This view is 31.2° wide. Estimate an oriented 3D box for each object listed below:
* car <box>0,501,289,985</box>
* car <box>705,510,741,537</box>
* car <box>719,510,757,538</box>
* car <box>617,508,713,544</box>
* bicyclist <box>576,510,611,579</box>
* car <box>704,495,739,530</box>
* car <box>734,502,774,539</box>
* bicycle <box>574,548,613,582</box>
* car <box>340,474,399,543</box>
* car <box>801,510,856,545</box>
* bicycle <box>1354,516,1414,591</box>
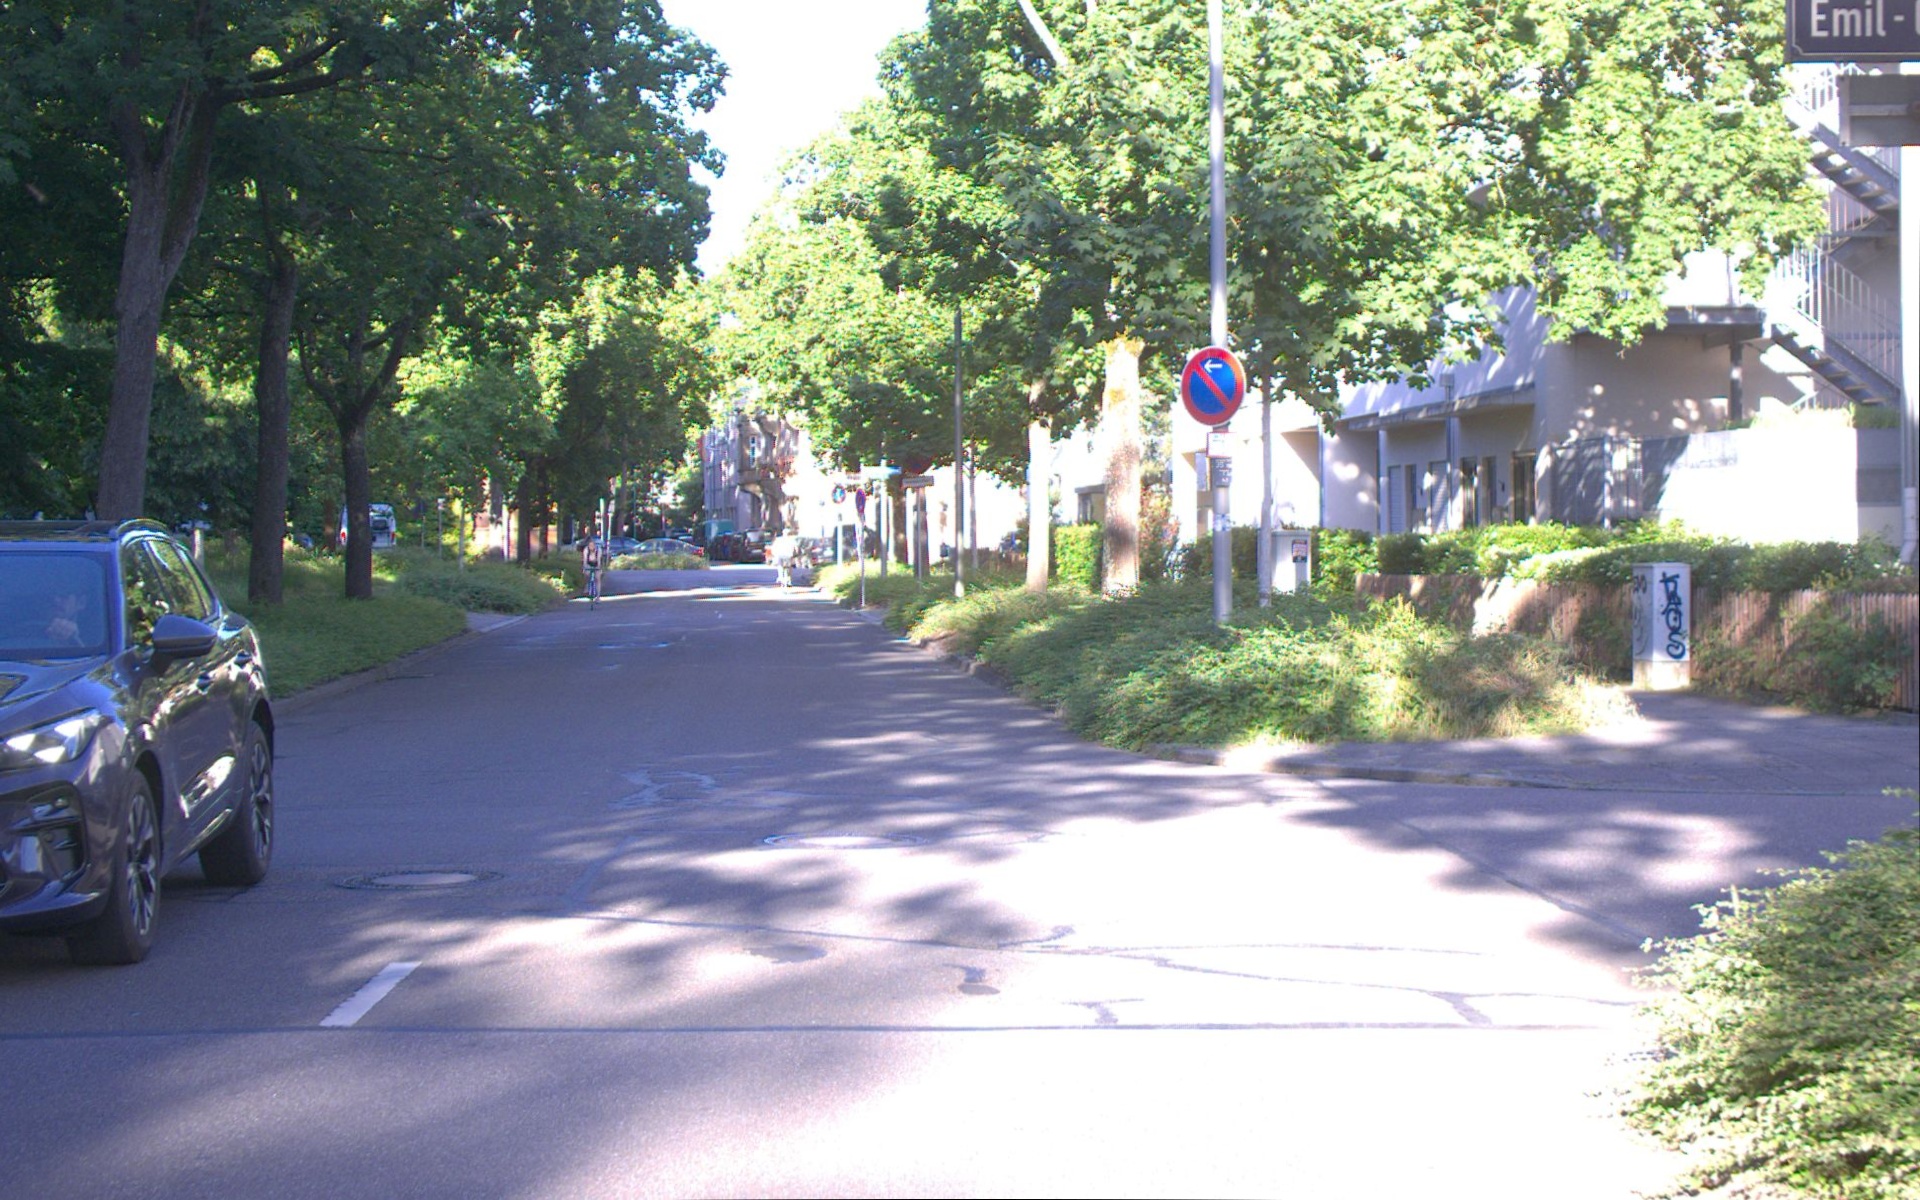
[{"bbox_3d":[-3.882,0.431,13.376,1.844,1.573,4.336,-2,2,-3],"label":"car"},{"bbox_3d":[-13.591,-4.370,196.785,1.811,1.496,4.001,1,1,-7],"label":"car"},{"bbox_3d":[-12.302,-4.214,190.314,1.811,1.496,4.001,1,1,-7],"label":"car"},{"bbox_3d":[-12.986,-3.252,151.374,3.986,1.496,1.818,1,1,-11],"label":"car"},{"bbox_3d":[-8.365,-1.274,78.490,0.633,1.549,1.002,-2,1,0],"label":"bicyclist"},{"bbox_3d":[-14.383,-5.252,206.951,1.811,2.043,4.001,1,1,-7],"label":"car"},{"bbox_3d":[-10.925,-4.219,182.239,1.811,1.919,4.001,1,1,-7],"label":"car"},{"bbox_3d":[-8.353,-0.805,78.442,0.639,0.739,2.126,-2,2,0],"label":"bicycle"},{"bbox_3d":[-22.237,-3.441,129.329,1.993,2.499,4.001,1,1,-12],"label":"car"},{"bbox_3d":[-5.895,-3.250,153.837,1.811,1.496,4.001,-1,2,-11],"label":"car"},{"bbox_3d":[6.839,-0.758,55.473,0.617,1.187,1.754,1,1,-4],"label":"bicycle"}]
